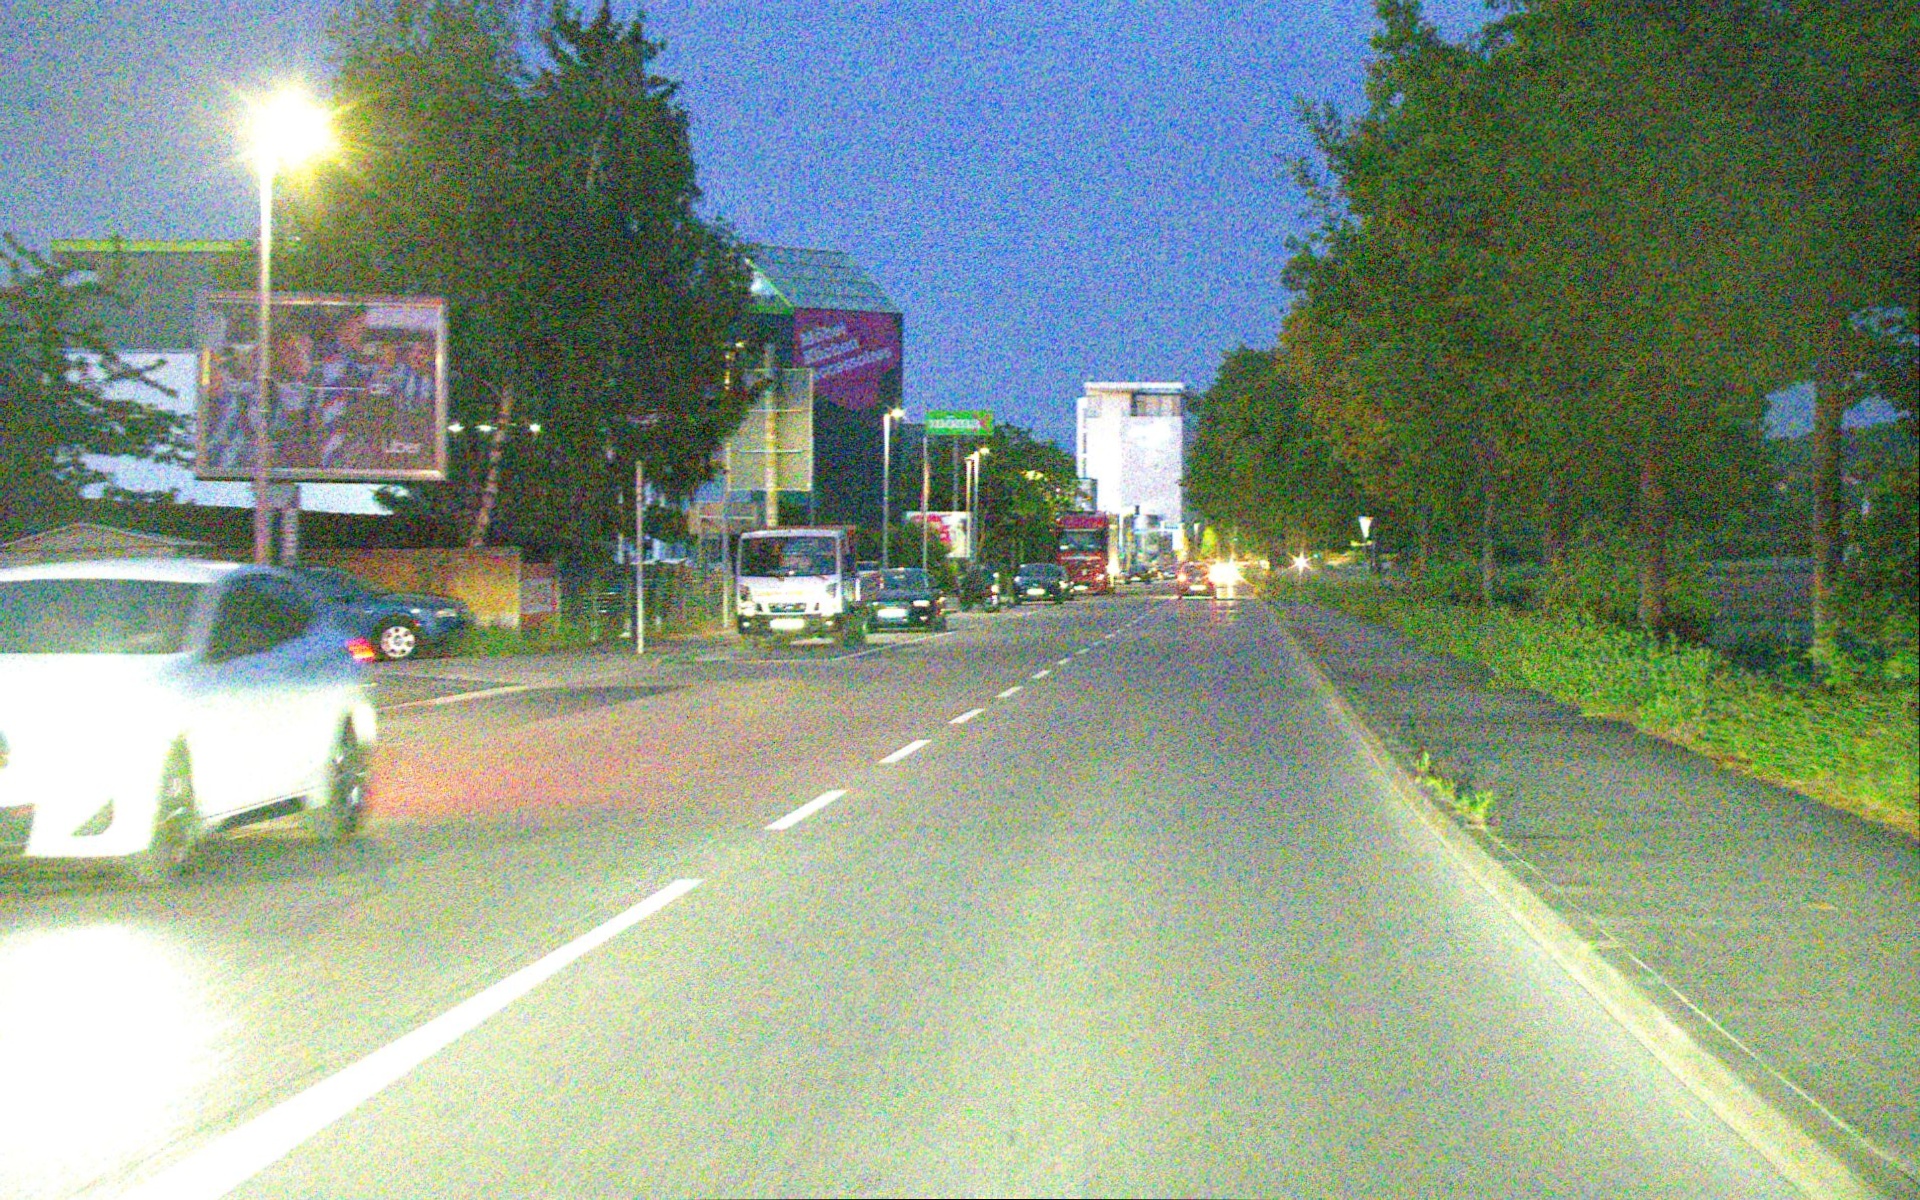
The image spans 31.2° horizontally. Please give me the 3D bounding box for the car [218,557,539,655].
[{"bbox_3d":[-8.422,0.079,49.977,4.348,1.355,1.643,-1,0,2],"label":"car"}]

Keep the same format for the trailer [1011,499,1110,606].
[{"bbox_3d":[4.930,-2.434,171.982,3.840,4.874,10.811,2,2,-3],"label":"trailer"}]

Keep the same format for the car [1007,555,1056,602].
[{"bbox_3d":[2.673,-0.800,128.963,1.725,1.733,3.808,0,0,-1],"label":"car"}]

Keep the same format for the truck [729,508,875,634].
[{"bbox_3d":[-2.769,-0.524,61.705,2.248,2.122,5.980,-1,1,1],"label":"truck"}]

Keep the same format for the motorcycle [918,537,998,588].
[{"bbox_3d":[-0.065,-1.571,141.840,1.320,2.006,3.993,4,3,32],"label":"motorcycle"}]

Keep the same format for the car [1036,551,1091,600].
[{"bbox_3d":[4.229,-1.013,141.363,1.993,1.890,4.001,-1,2,-2],"label":"car"}]

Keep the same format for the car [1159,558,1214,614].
[{"bbox_3d":[8.995,-0.587,136.938,1.994,2.006,4.000,-2,2,3],"label":"car"}]

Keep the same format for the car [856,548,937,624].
[{"bbox_3d":[-1.390,-0.338,76.029,1.717,1.612,3.839,-1,1,-1],"label":"car"}]

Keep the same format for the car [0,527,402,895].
[{"bbox_3d":[-4.311,0.455,17.308,1.756,1.602,4.451,-1,1,7],"label":"car"}]

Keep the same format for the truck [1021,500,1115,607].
[{"bbox_3d":[5.195,-2.295,167.056,3.840,4.874,6.355,2,2,-3],"label":"truck"}]
